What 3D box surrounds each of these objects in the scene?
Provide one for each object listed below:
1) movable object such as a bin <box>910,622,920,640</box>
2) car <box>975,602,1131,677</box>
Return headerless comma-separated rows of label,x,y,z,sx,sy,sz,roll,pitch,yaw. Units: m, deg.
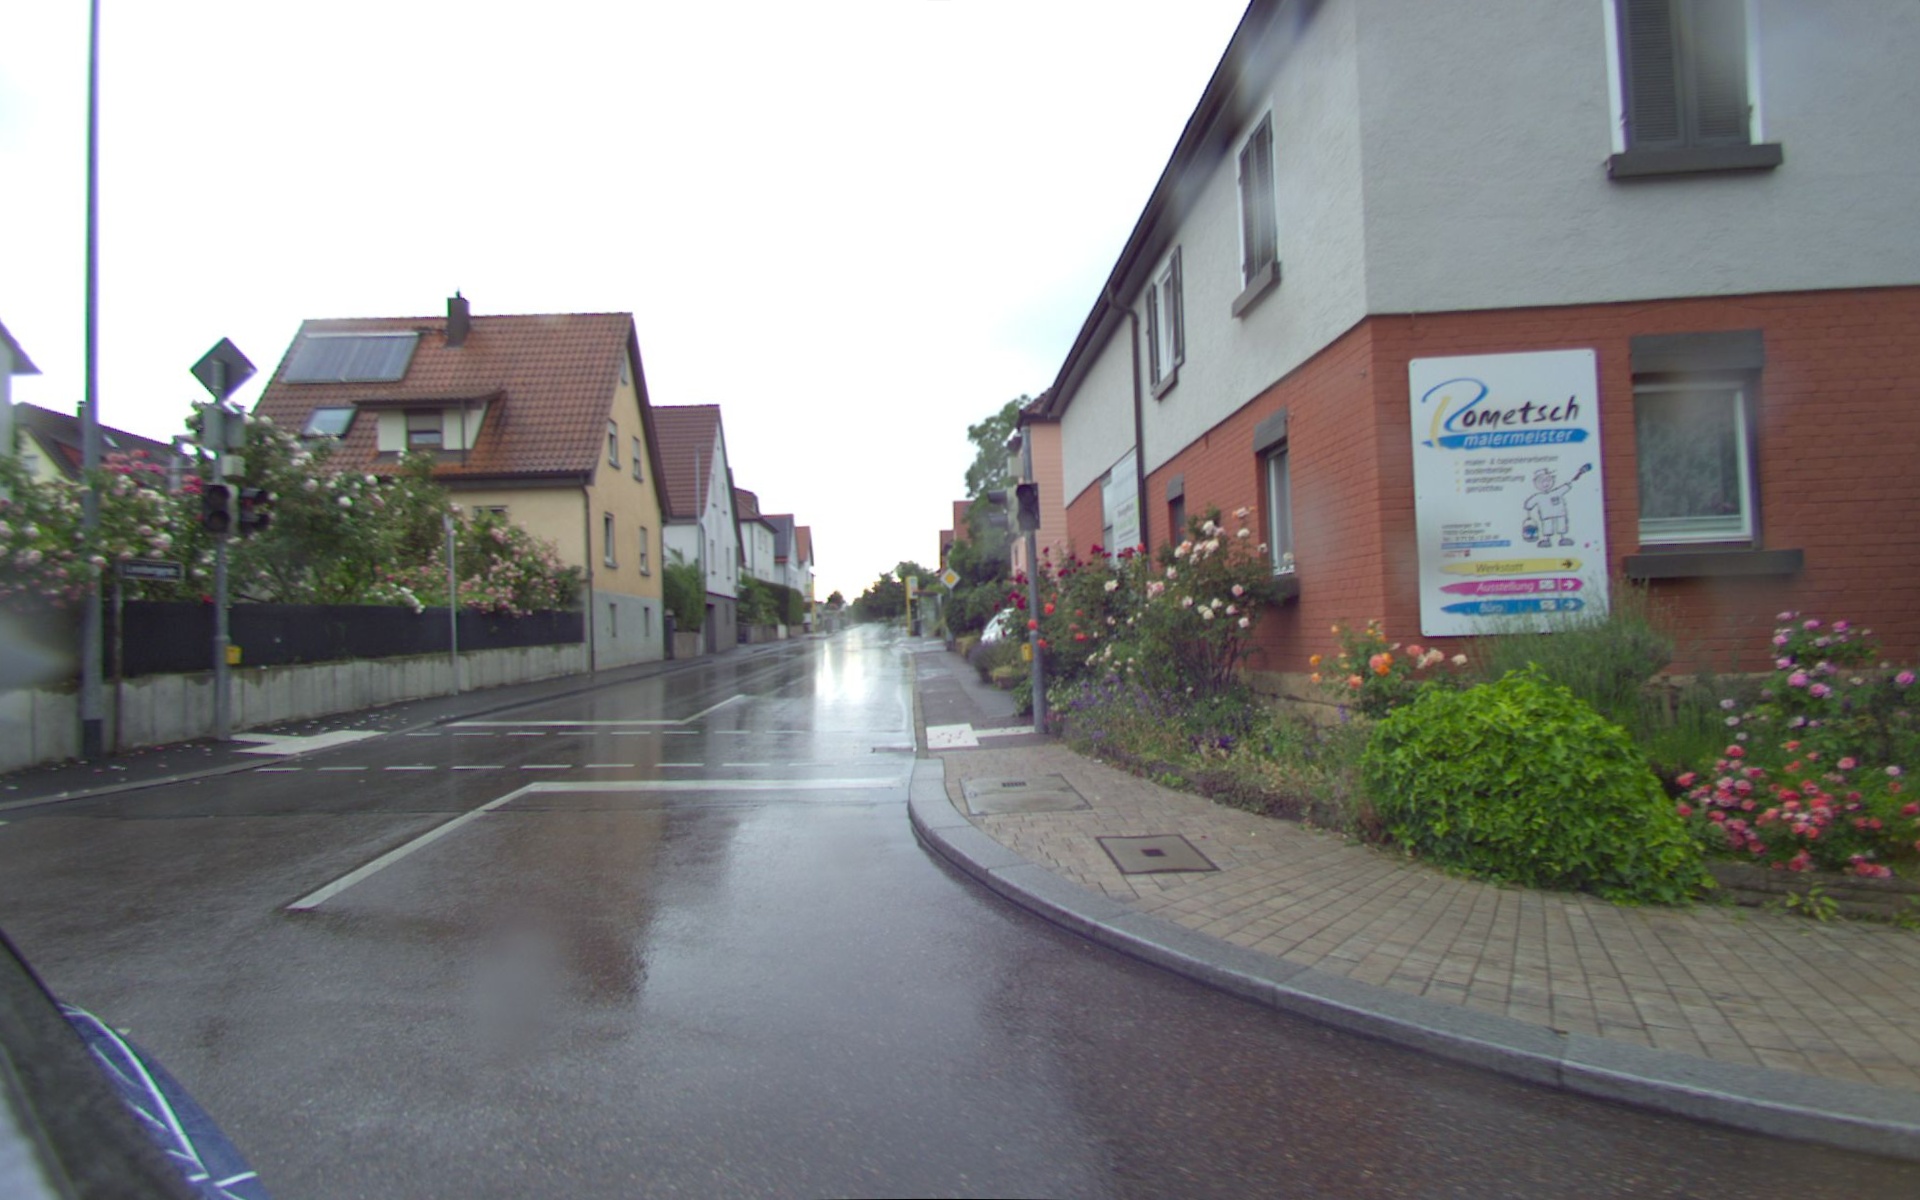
movable object such as a bin,-2.888,1.959,64.798,0.547,1.090,0.527,-5,-1,-1
car,2.213,0.939,24.663,3.505,1.540,1.663,-4,-1,-1
